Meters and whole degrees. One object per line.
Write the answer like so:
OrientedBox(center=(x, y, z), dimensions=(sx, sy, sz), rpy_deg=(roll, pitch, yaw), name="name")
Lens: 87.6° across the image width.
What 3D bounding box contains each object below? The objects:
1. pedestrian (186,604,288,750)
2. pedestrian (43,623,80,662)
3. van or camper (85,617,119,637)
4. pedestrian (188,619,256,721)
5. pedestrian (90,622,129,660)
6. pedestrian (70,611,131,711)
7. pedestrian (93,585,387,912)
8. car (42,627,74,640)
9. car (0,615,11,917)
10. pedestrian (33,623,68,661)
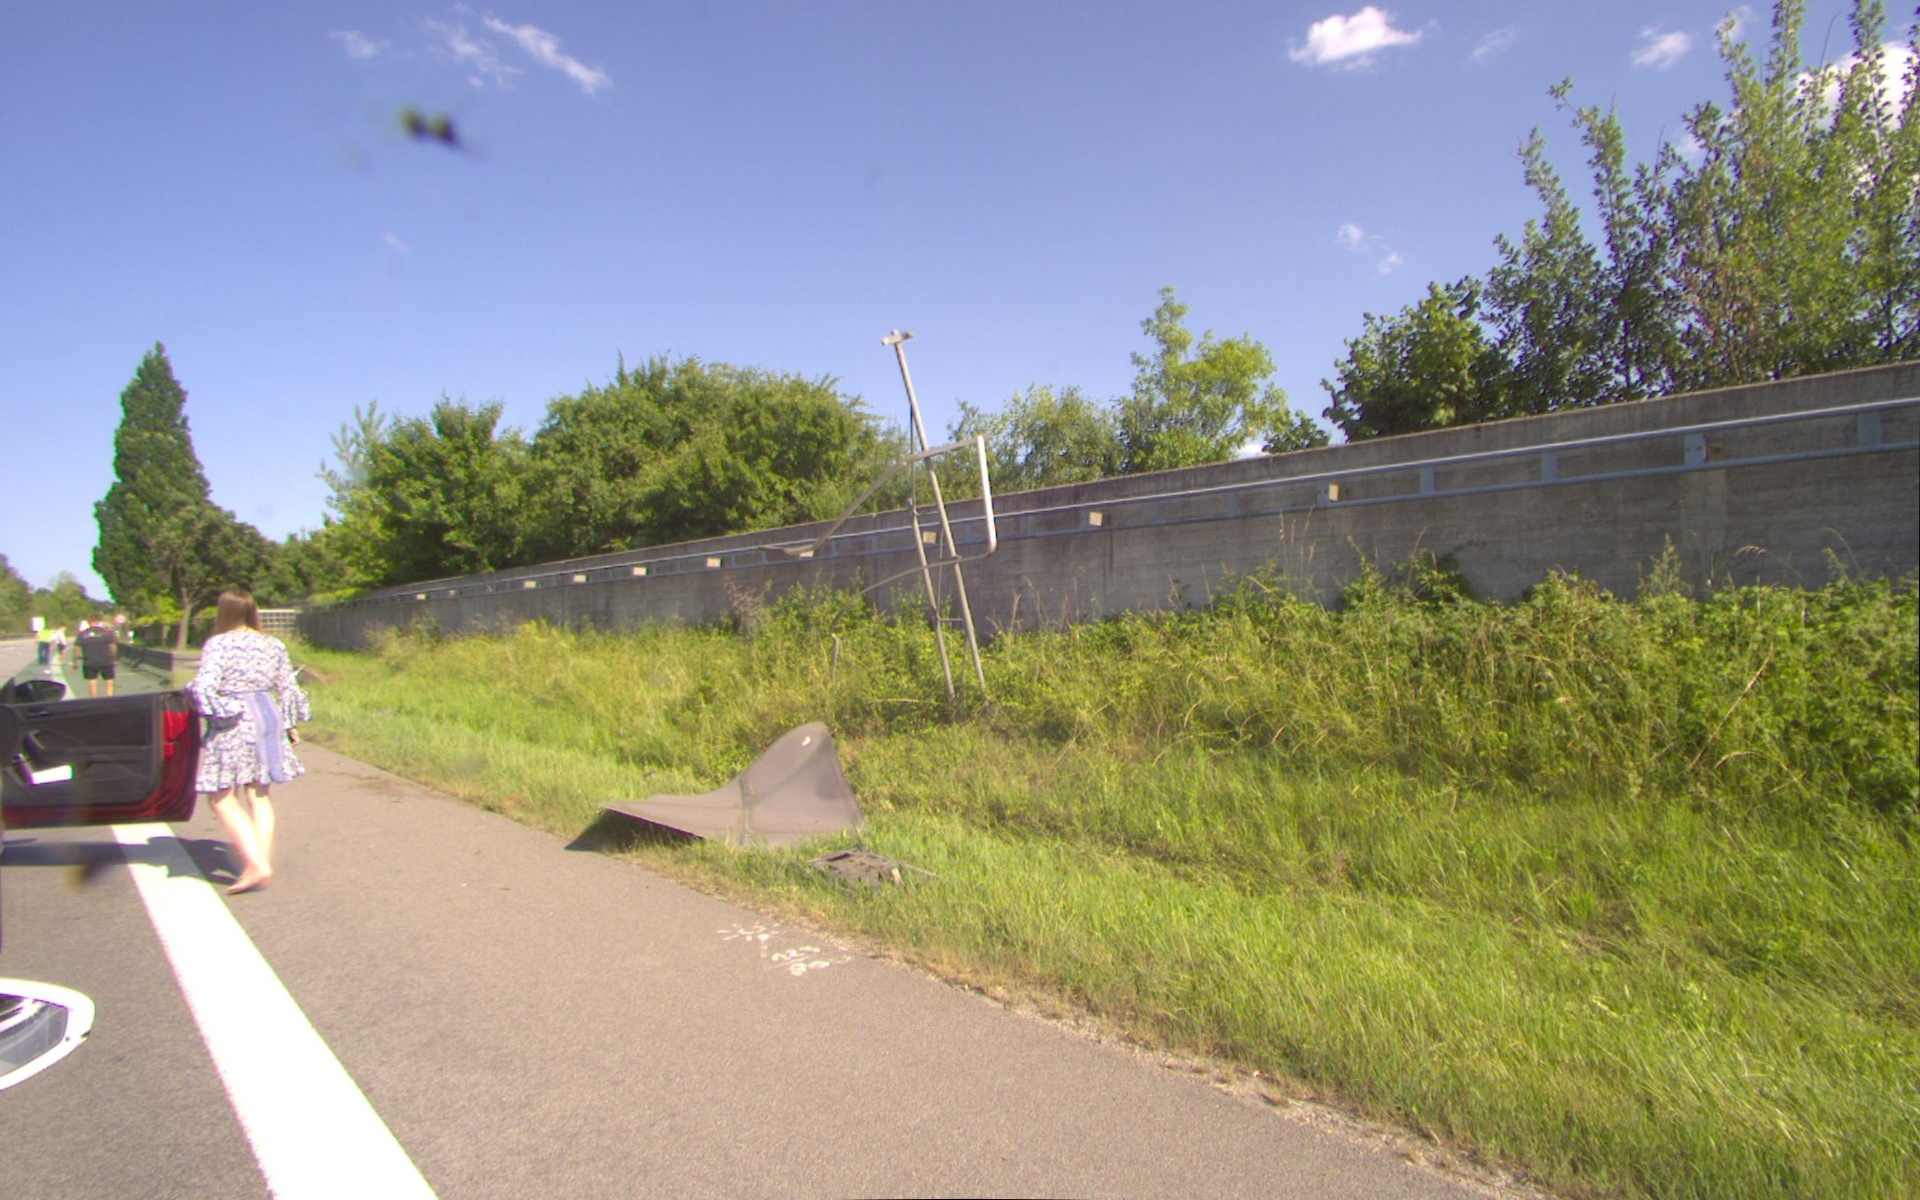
OrientedBox(center=(-8.871, 0.899, 12.326), dimensions=(0.948, 1.675, 1.269), rpy_deg=(-1, 0, -35), name="pedestrian")
OrientedBox(center=(-39.971, 1.875, 44.546), dimensions=(1.104, 1.711, 0.966), rpy_deg=(1, -2, -37), name="pedestrian")
OrientedBox(center=(-103.185, 3.298, 120.430), dimensions=(1.969, 2.345, 4.454), rpy_deg=(1, -2, -26), name="van or camper")
OrientedBox(center=(-13.038, 1.215, 17.690), dimensions=(0.888, 1.747, 0.748), rpy_deg=(1, -2, -41), name="pedestrian")
OrientedBox(center=(-38.691, 1.850, 45.555), dimensions=(0.981, 1.711, 1.009), rpy_deg=(1, -2, -14), name="pedestrian")
OrientedBox(center=(-15.777, 1.107, 18.396), dimensions=(0.806, 1.782, 0.821), rpy_deg=(1, -2, -42), name="pedestrian")
OrientedBox(center=(-4.162, 0.791, 5.840), dimensions=(1.108, 1.718, 0.891), rpy_deg=(-1, 0, 17), name="pedestrian")
OrientedBox(center=(-107.404, 3.966, 119.261), dimensions=(1.712, 1.506, 4.193), rpy_deg=(1, -2, -27), name="car")
OrientedBox(center=(-5.948, 0.828, 4.991), dimensions=(1.721, 1.506, 4.170), rpy_deg=(2, -2, -43), name="car")
OrientedBox(center=(-41.103, 1.899, 45.247), dimensions=(1.047, 1.711, 1.010), rpy_deg=(1, -2, -37), name="pedestrian")
